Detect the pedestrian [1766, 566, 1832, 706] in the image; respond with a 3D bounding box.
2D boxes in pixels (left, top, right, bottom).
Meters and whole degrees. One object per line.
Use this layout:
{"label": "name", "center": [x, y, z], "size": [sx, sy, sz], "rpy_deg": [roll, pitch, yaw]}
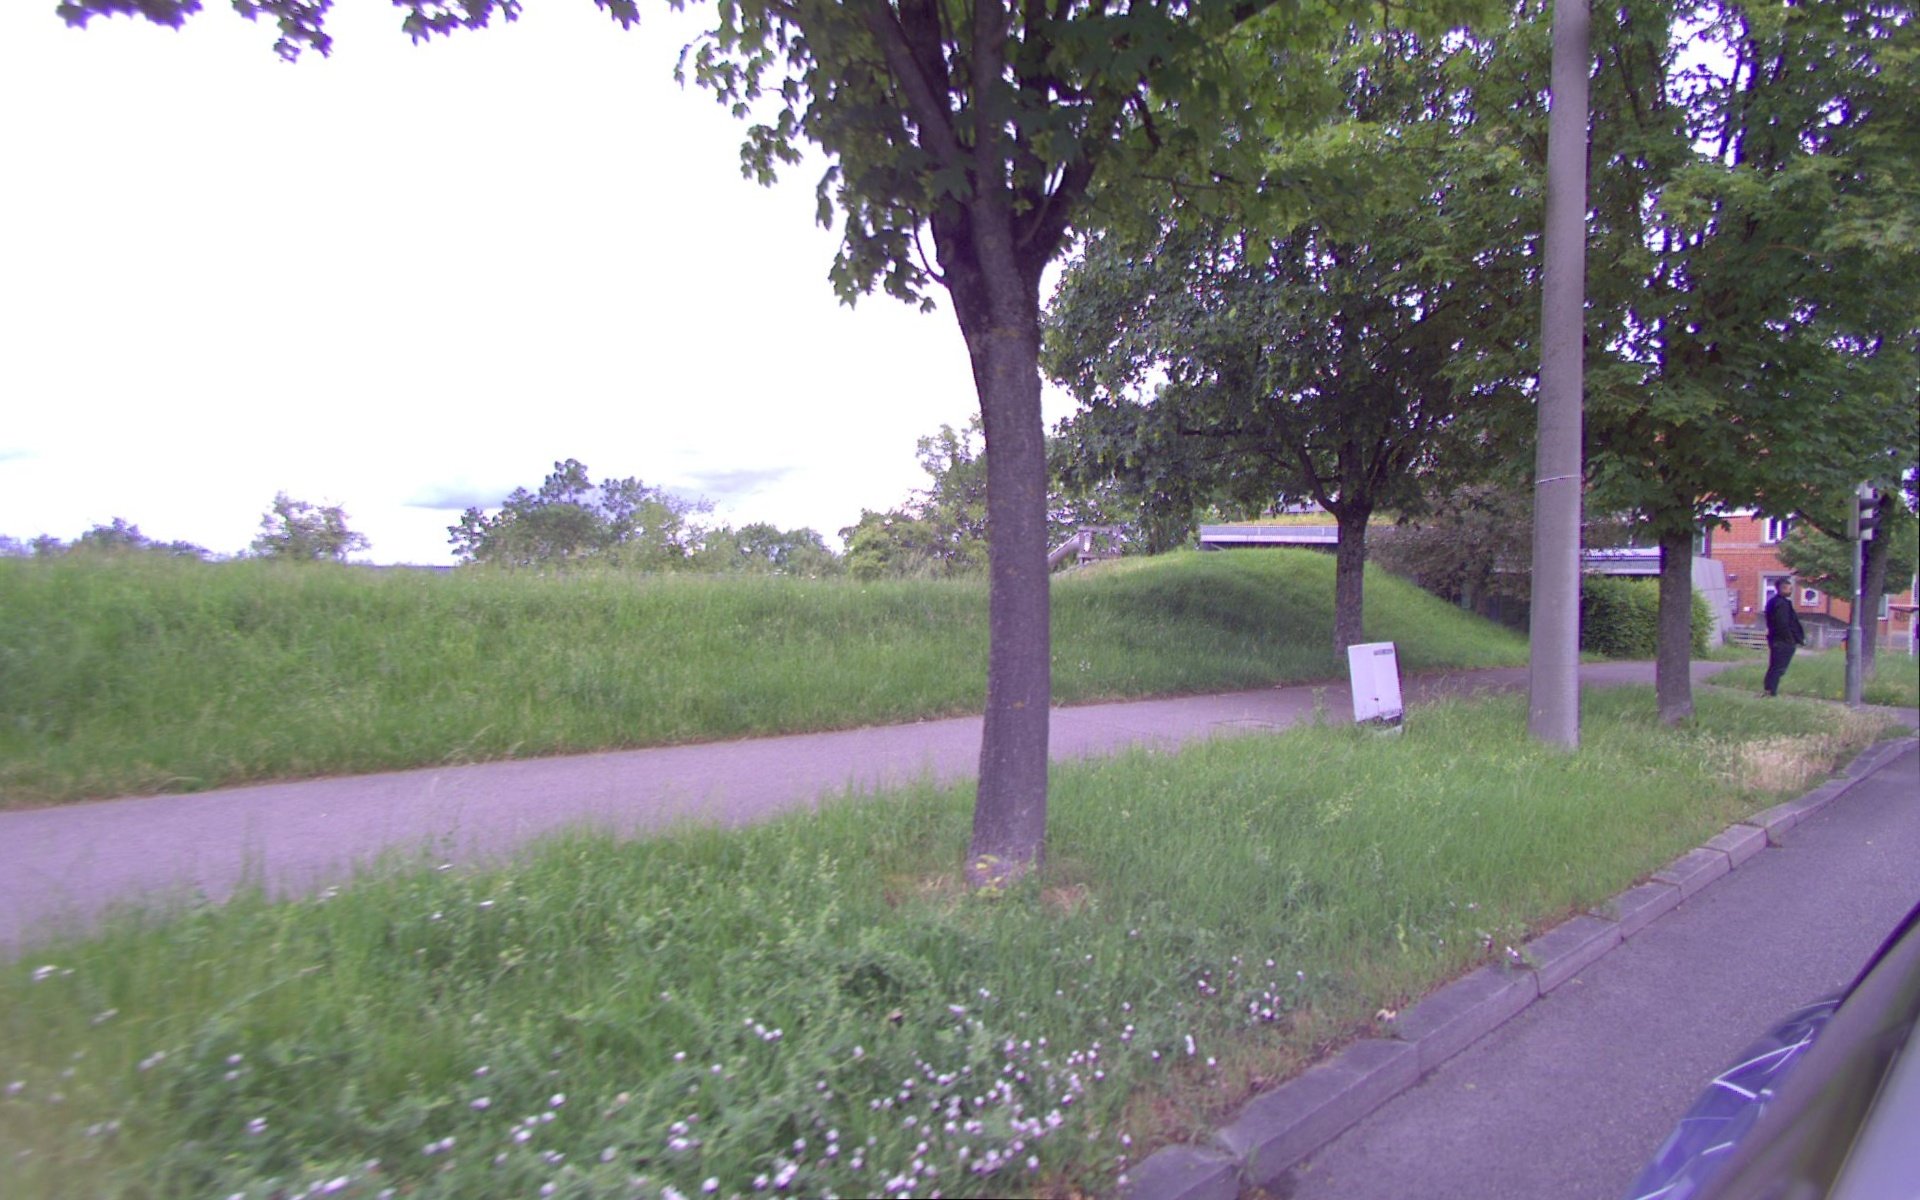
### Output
{"label": "pedestrian", "center": [11.698, 0.486, 14.105], "size": [0.642, 1.879, 0.662], "rpy_deg": [1, -1, 43]}
